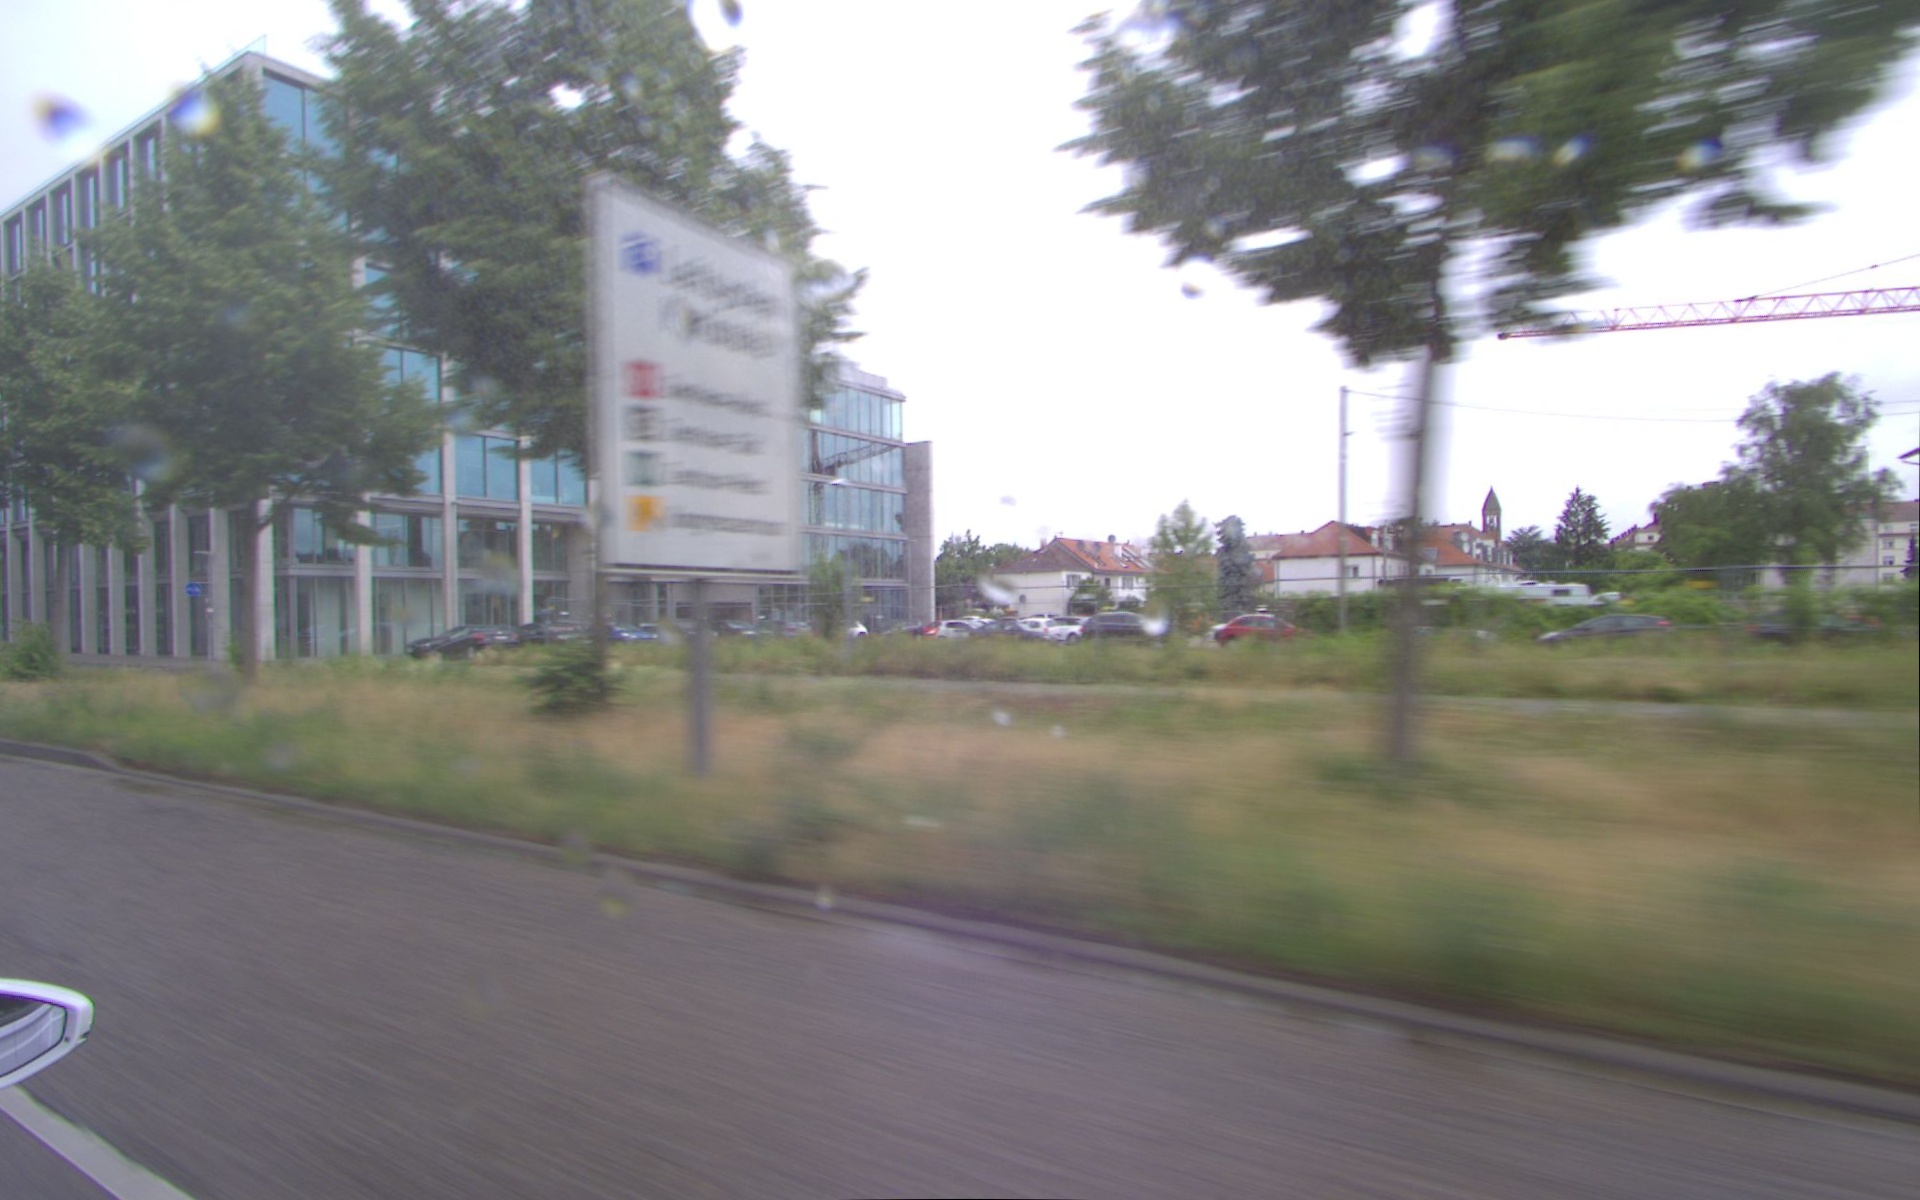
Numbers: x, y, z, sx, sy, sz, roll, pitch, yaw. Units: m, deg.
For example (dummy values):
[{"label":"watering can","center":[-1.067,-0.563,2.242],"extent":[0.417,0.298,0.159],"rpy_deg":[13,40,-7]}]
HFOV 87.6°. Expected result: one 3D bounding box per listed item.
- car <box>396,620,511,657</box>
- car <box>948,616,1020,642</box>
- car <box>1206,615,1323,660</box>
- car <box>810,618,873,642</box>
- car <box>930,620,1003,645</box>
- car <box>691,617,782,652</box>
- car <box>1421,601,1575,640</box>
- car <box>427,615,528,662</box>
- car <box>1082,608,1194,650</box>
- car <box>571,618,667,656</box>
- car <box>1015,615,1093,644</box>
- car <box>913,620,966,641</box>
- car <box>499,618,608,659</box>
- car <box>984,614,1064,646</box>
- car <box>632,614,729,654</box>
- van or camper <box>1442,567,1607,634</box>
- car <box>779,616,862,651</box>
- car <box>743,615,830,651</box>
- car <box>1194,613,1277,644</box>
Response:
[{"label":"car","center":[-22.584,1.679,44.783],"extent":[1.955,1.457,4.204],"rpy_deg":[2,0,37]},{"label":"car","center":[1.427,1.750,60.192],"extent":[3.972,1.516,1.853],"rpy_deg":[-1,0,30]},{"label":"car","center":[11.725,1.409,38.635],"extent":[3.949,1.622,1.848],"rpy_deg":[-1,-1,38]},{"label":"car","center":[-7.650,1.905,64.864],"extent":[1.837,1.457,3.973],"rpy_deg":[1,0,37]},{"label":"car","center":[0.387,1.860,58.242],"extent":[3.973,1.370,1.693],"rpy_deg":[-1,0,31]},{"label":"car","center":[-10.138,1.542,45.303],"extent":[4.176,1.494,1.779],"rpy_deg":[-1,0,38]},{"label":"car","center":[23.796,0.922,44.541],"extent":[5.559,1.665,2.482],"rpy_deg":[0,-1,14]},{"label":"car","center":[-17.543,1.371,36.350],"extent":[3.952,1.601,1.847],"rpy_deg":[-1,0,39]},{"label":"car","center":[7.286,1.163,41.098],"extent":[4.179,1.622,1.848],"rpy_deg":[-1,-1,38]},{"label":"car","center":[-13.954,1.483,40.890],"extent":[3.949,1.474,1.848],"rpy_deg":[-1,0,38]},{"label":"car","center":[5.256,1.655,56.027],"extent":[3.982,1.369,1.691],"rpy_deg":[-5,-4,36]},{"label":"car","center":[-1.460,2.198,73.259],"extent":[1.837,1.434,3.973],"rpy_deg":[-1,-1,37]},{"label":"car","center":[-15.632,1.445,38.412],"extent":[4.499,1.474,1.848],"rpy_deg":[-1,-1,38]},{"label":"car","center":[3.487,1.651,54.505],"extent":[3.979,1.463,1.692],"rpy_deg":[-5,-3,33]},{"label":"car","center":[-12.193,1.448,43.584],"extent":[4.360,1.622,1.848],"rpy_deg":[-1,0,38]},{"label":"van or camper","center":[26.851,0.082,47.746],"extent":[6.680,3.033,2.901],"rpy_deg":[-1,-1,32]},{"label":"car","center":[-6.881,1.609,49.258],"extent":[3.949,1.622,1.848],"rpy_deg":[-1,0,38]},{"label":"car","center":[-8.240,1.544,47.430],"extent":[3.949,1.622,1.848],"rpy_deg":[-1,0,38]},{"label":"car","center":[14.790,1.507,53.845],"extent":[3.975,1.602,1.692],"rpy_deg":[-1,0,33]}]
